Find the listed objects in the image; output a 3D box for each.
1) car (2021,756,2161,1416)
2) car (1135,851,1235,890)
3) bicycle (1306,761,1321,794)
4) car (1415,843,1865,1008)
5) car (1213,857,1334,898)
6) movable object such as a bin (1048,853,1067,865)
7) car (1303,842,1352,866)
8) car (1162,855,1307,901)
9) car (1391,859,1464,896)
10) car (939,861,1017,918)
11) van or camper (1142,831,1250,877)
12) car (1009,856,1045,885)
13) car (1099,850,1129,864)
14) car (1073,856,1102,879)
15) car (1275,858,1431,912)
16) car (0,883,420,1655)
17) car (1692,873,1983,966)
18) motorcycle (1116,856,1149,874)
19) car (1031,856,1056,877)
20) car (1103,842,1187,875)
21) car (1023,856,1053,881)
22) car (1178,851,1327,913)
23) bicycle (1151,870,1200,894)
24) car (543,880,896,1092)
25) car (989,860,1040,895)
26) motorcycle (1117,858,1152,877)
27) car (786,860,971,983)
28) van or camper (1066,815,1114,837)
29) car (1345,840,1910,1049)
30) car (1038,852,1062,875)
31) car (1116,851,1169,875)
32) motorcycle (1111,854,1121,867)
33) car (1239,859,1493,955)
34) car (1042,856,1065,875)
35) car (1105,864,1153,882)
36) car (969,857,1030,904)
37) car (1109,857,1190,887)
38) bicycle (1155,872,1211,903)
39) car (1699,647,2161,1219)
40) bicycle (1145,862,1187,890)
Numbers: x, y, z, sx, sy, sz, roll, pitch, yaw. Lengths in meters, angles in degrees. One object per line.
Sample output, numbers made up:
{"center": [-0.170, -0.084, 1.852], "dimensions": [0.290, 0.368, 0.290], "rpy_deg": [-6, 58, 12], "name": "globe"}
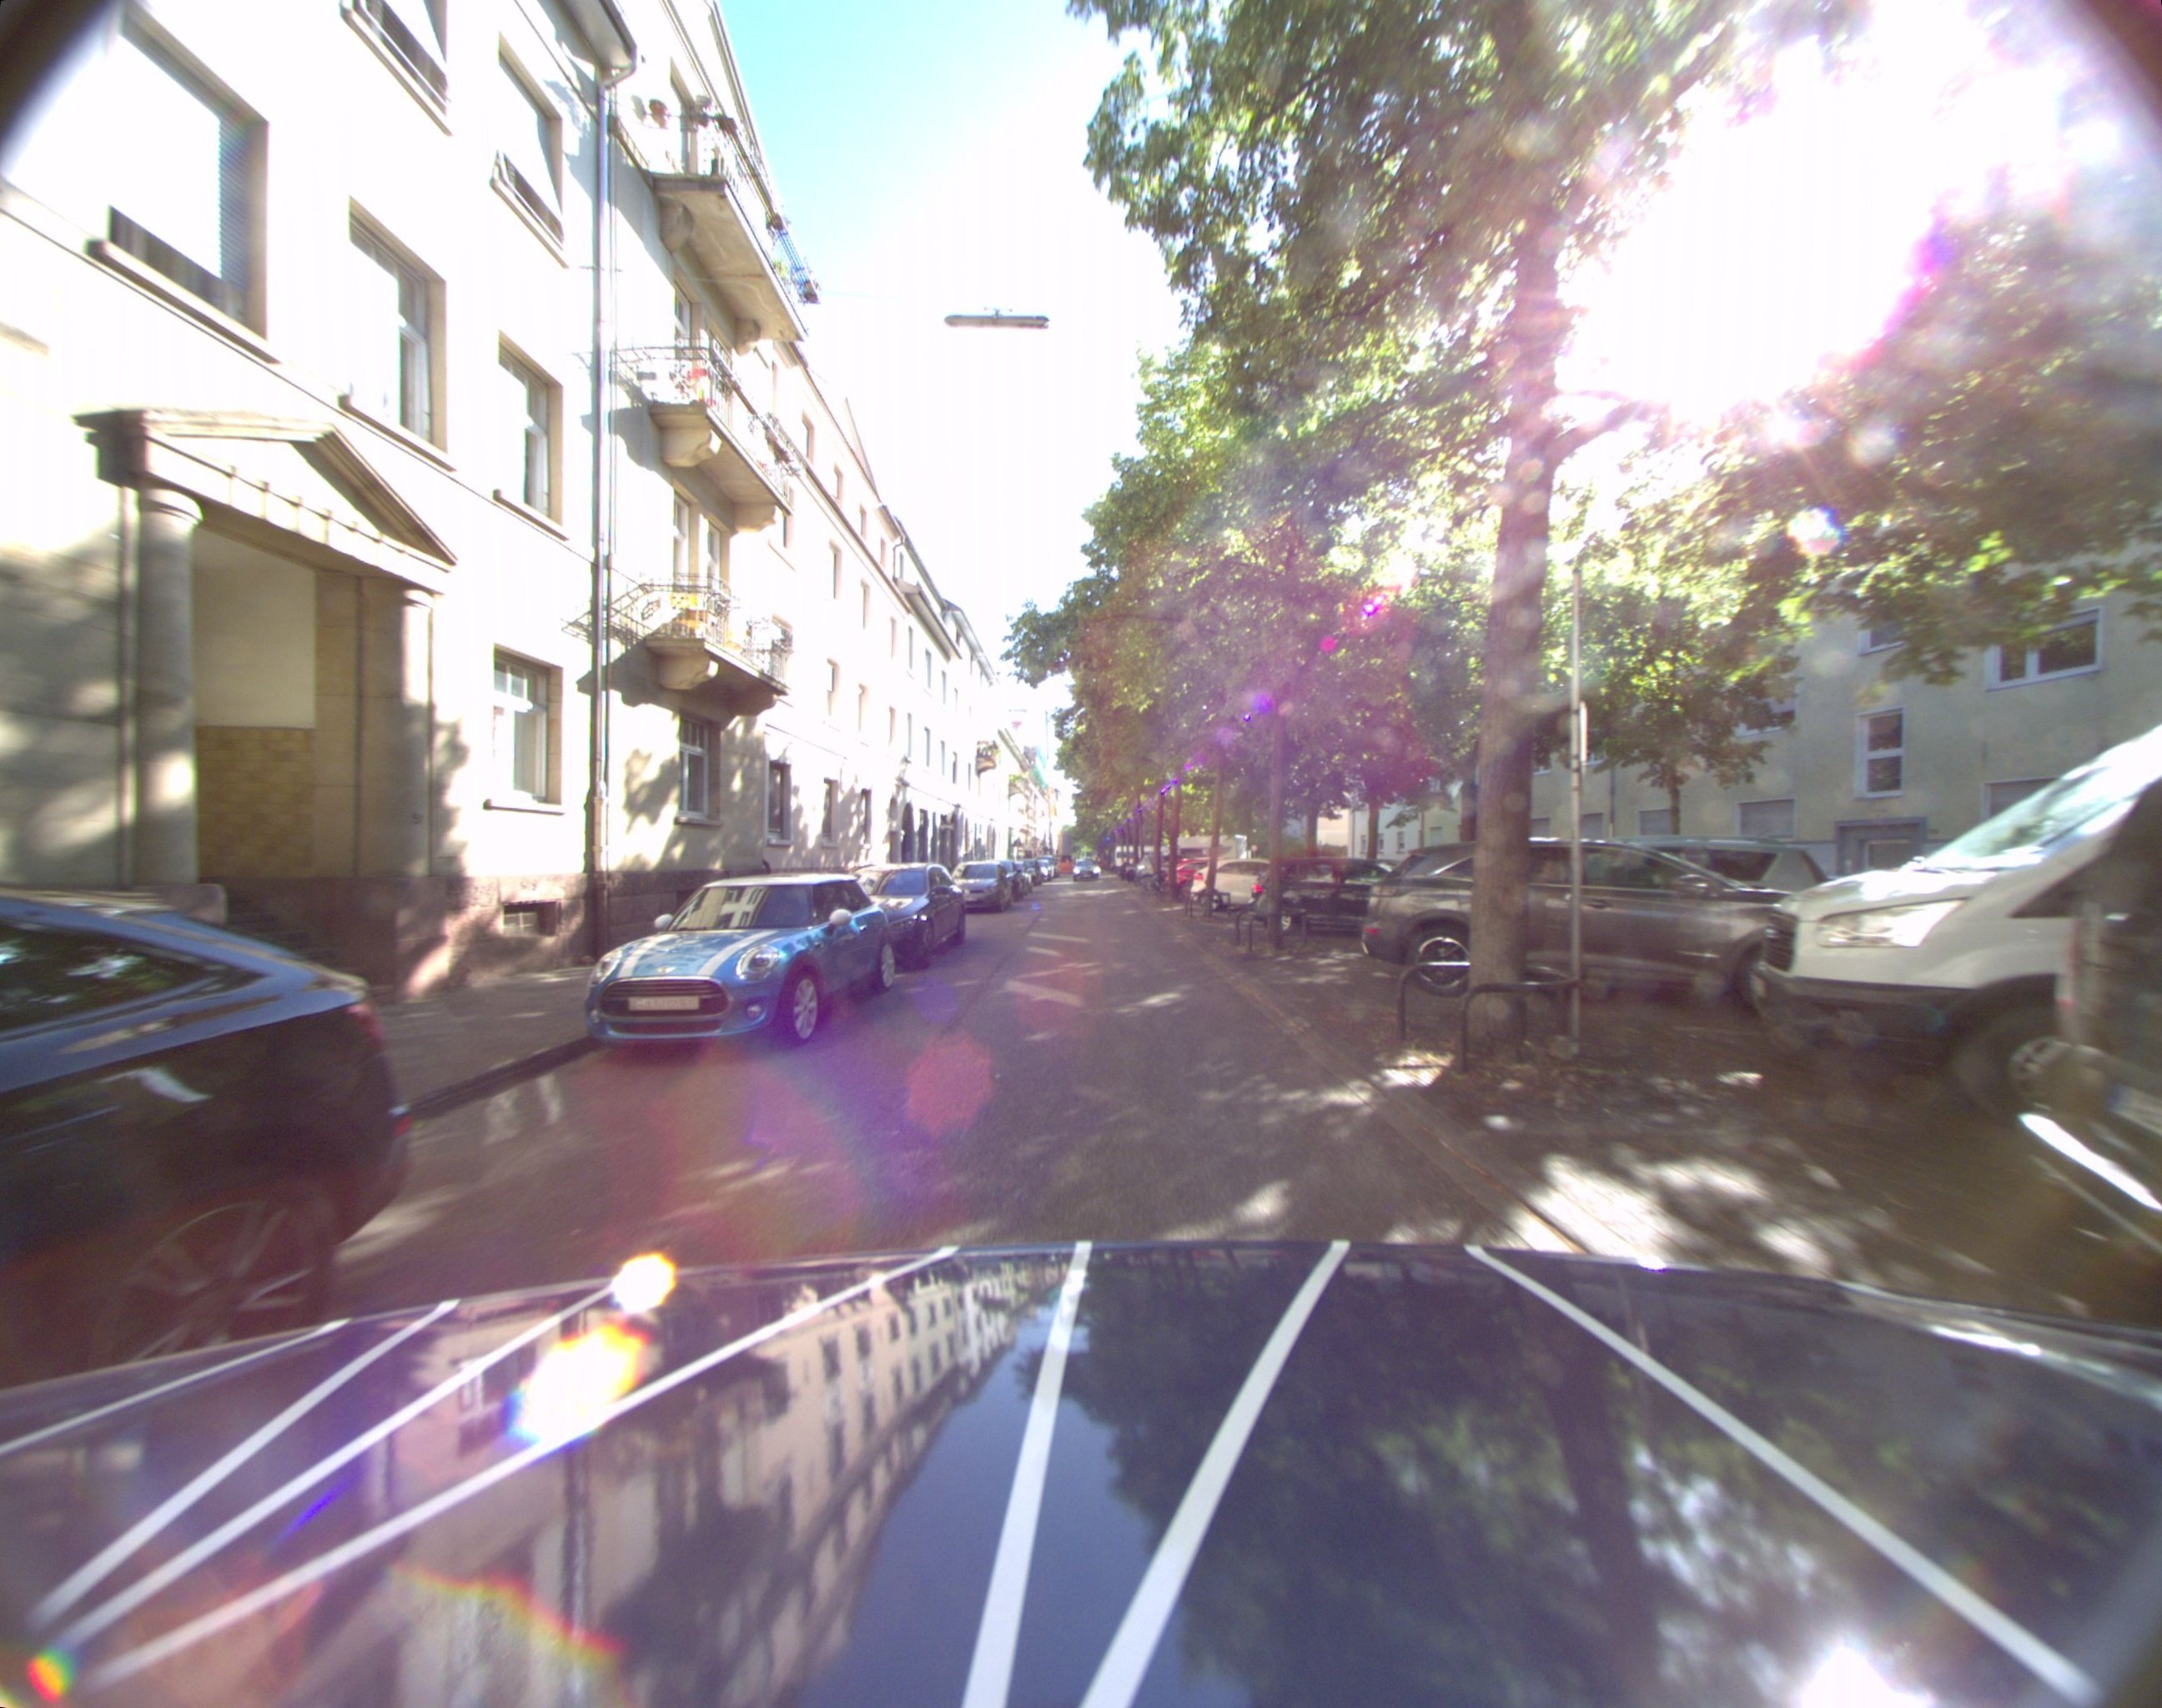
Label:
{"center": [4.664, 0.654, 1.079], "dimensions": [3.840, 1.877, 1.848], "rpy_deg": [0, -1, 37], "name": "car"}
{"center": [4.699, 0.735, 34.316], "dimensions": [4.078, 1.643, 1.866], "rpy_deg": [-1, 0, 28], "name": "car"}
{"center": [9.739, -3.191, 31.775], "dimensions": [0.355, 1.193, 1.804], "rpy_deg": [-1, 0, 24], "name": "bicycle"}
{"center": [6.865, 0.743, 9.983], "dimensions": [4.382, 1.767, 1.903], "rpy_deg": [1, 1, 28], "name": "car"}
{"center": [7.305, 0.836, 28.868], "dimensions": [4.105, 1.464, 1.875], "rpy_deg": [0, 0, 29], "name": "car"}
{"center": [-3.186, 0.708, 102.068], "dimensions": [1.872, 1.518, 1.631], "rpy_deg": [1, 0, 35], "name": "movable object such as a bin"}
{"center": [15.980, 0.002, 49.463], "dimensions": [1.754, 1.427, 4.081], "rpy_deg": [2, 0, -2], "name": "car"}
{"center": [5.339, 0.815, 26.656], "dimensions": [4.616, 1.477, 1.764], "rpy_deg": [-1, 0, 34], "name": "car"}
{"center": [15.845, 1.035, 34.926], "dimensions": [1.621, 1.566, 3.579], "rpy_deg": [2, 0, -2], "name": "car"}
{"center": [-2.933, 0.982, 22.440], "dimensions": [1.696, 1.459, 4.005], "rpy_deg": [-1, 0, 1], "name": "car"}
{"center": [7.290, 0.028, 48.443], "dimensions": [6.290, 2.808, 2.412], "rpy_deg": [-1, 0, 29], "name": "van or camper"}
{"center": [-3.021, 0.886, 43.202], "dimensions": [1.584, 1.541, 4.042], "rpy_deg": [0, 0, 2], "name": "car"}
{"center": [5.210, 0.525, 120.495], "dimensions": [4.386, 2.155, 1.774], "rpy_deg": [1, 0, 28], "name": "car"}
{"center": [0.475, 0.882, 51.798], "dimensions": [1.792, 1.510, 4.001], "rpy_deg": [1, 0, 3], "name": "car"}
{"center": [7.929, 0.839, 22.280], "dimensions": [3.988, 1.427, 1.801], "rpy_deg": [0, 0, 34], "name": "car"}
{"center": [-3.260, 0.944, 0.449], "dimensions": [1.869, 1.634, 4.490], "rpy_deg": [-1, 0, -2], "name": "car"}
{"center": [15.547, 1.260, 16.009], "dimensions": [1.897, 1.556, 4.159], "rpy_deg": [2, 0, -2], "name": "car"}
{"center": [3.925, 0.857, 57.641], "dimensions": [2.326, 1.327, 0.968], "rpy_deg": [-1, 1, -9], "name": "motorcycle"}
{"center": [-2.676, 0.847, 54.584], "dimensions": [1.611, 1.412, 4.568], "rpy_deg": [1, 0, -1], "name": "car"}
{"center": [5.139, 0.383, 61.441], "dimensions": [6.310, 2.544, 2.343], "rpy_deg": [0, 1, 33], "name": "car"}
{"center": [-2.743, 0.884, 49.256], "dimensions": [1.603, 1.484, 3.966], "rpy_deg": [2, 0, 1], "name": "car"}
{"center": [4.758, 0.753, 21.075], "dimensions": [3.685, 1.586, 1.776], "rpy_deg": [-1, 0, 26], "name": "car"}
{"center": [3.737, 1.111, 30.149], "dimensions": [1.900, 0.913, 0.379], "rpy_deg": [-1, 1, 20], "name": "bicycle"}
{"center": [-3.116, 1.043, 7.426], "dimensions": [1.594, 1.407, 3.632], "rpy_deg": [-1, 0, 2], "name": "car"}
{"center": [-2.864, 0.993, 33.511], "dimensions": [1.774, 1.423, 4.291], "rpy_deg": [0, 0, 1], "name": "car"}
{"center": [3.544, 0.892, 50.221], "dimensions": [2.151, 1.223, 0.882], "rpy_deg": [-2, 1, 9], "name": "motorcycle"}
{"center": [-3.000, 0.917, 12.256], "dimensions": [1.810, 1.554, 4.320], "rpy_deg": [1, 0, 0], "name": "car"}
{"center": [1.227, -3.833, 104.497], "dimensions": [6.016, 2.984, 2.404], "rpy_deg": [1, 0, 29], "name": "van or camper"}
{"center": [5.116, 0.733, 7.776], "dimensions": [4.264, 1.632, 1.658], "rpy_deg": [-1, 0, 33], "name": "car"}
{"center": [-2.425, 0.723, 60.083], "dimensions": [1.776, 1.783, 3.989], "rpy_deg": [1, 0, -1], "name": "car"}
{"center": [4.261, 0.591, 52.994], "dimensions": [1.667, 1.608, 3.870], "rpy_deg": [1, 0, -31], "name": "car"}
{"center": [3.838, 0.699, 83.762], "dimensions": [0.631, 1.317, 2.231], "rpy_deg": [0, 0, 16], "name": "motorcycle"}
{"center": [5.148, 0.859, 13.873], "dimensions": [4.098, 1.473, 1.735], "rpy_deg": [0, 1, 31], "name": "car"}
{"center": [-2.327, 0.937, 65.133], "dimensions": [1.709, 1.502, 4.284], "rpy_deg": [1, 0, 1], "name": "car"}
{"center": [4.546, 1.823, 71.636], "dimensions": [4.090, 1.516, 1.705], "rpy_deg": [-4, -2, 31], "name": "car"}
{"center": [-2.929, 0.922, 27.999], "dimensions": [1.772, 1.542, 4.183], "rpy_deg": [-2, 0, 0], "name": "car"}
{"center": [3.647, 0.949, 40.747], "dimensions": [4.008, 1.465, 1.630], "rpy_deg": [1, 0, 36], "name": "car"}
{"center": [3.376, 1.102, 25.214], "dimensions": [1.813, 0.988, 0.426], "rpy_deg": [0, 0, 16], "name": "bicycle"}
{"center": [6.911, 0.384, 3.544], "dimensions": [6.066, 2.608, 2.460], "rpy_deg": [1, 1, 36], "name": "car"}
{"center": [3.556, 0.939, 31.874], "dimensions": [1.687, 1.152, 0.379], "rpy_deg": [-1, 1, 20], "name": "bicycle"}
